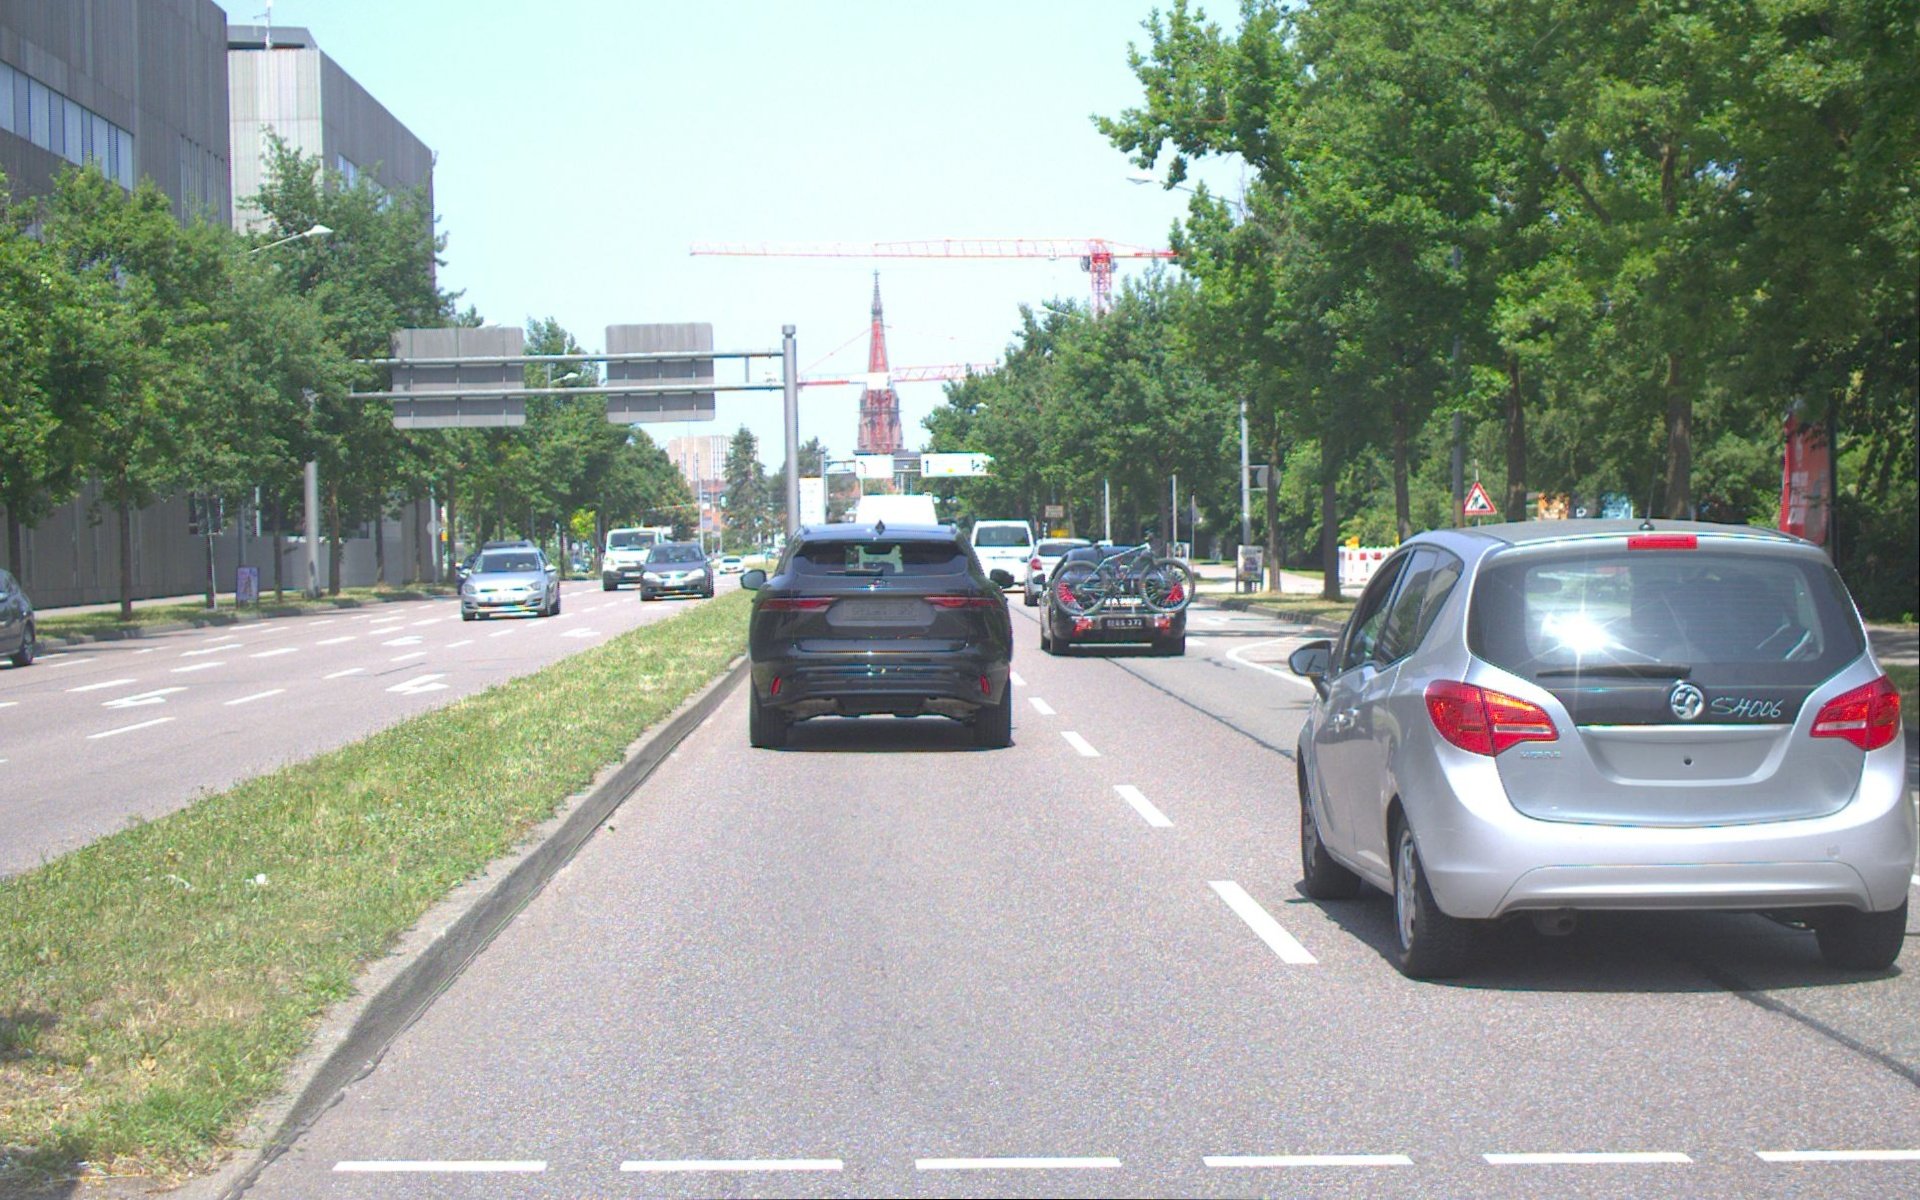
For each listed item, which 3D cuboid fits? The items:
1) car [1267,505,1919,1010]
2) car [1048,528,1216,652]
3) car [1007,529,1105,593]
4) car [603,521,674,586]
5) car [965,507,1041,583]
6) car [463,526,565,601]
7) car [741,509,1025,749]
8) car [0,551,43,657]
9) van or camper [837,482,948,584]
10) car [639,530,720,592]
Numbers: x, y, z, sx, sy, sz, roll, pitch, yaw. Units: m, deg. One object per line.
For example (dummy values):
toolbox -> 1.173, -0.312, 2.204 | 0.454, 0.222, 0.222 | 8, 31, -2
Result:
car -> 2.302, 0.467, 13.109 | 1.792, 1.606, 3.891 | -1, 1, -1
car -> 2.218, -0.156, 45.362 | 2.014, 1.512, 4.461 | -1, 1, 1
car -> 2.120, -0.866, 76.855 | 1.654, 1.351, 4.461 | -1, 1, -5
car -> -10.444, -1.525, 111.979 | 1.909, 1.986, 4.898 | -2, 1, -1
car -> 1.168, -1.525, 94.895 | 1.993, 2.007, 4.000 | -1, 1, 0
car -> -9.359, -0.790, 72.423 | 1.765, 1.455, 4.146 | -3, 1, -3
car -> -0.535, 0.163, 26.222 | 1.998, 1.683, 4.034 | 0, 1, 0
car -> -15.166, 0.126, 51.463 | 1.810, 1.538, 4.371 | -5, 2, -3
van or camper -> -1.589, -1.567, 81.366 | 2.493, 2.283, 4.921 | -1, 1, -1
car -> -7.122, -1.010, 87.463 | 1.810, 1.461, 4.058 | -3, 1, -2
